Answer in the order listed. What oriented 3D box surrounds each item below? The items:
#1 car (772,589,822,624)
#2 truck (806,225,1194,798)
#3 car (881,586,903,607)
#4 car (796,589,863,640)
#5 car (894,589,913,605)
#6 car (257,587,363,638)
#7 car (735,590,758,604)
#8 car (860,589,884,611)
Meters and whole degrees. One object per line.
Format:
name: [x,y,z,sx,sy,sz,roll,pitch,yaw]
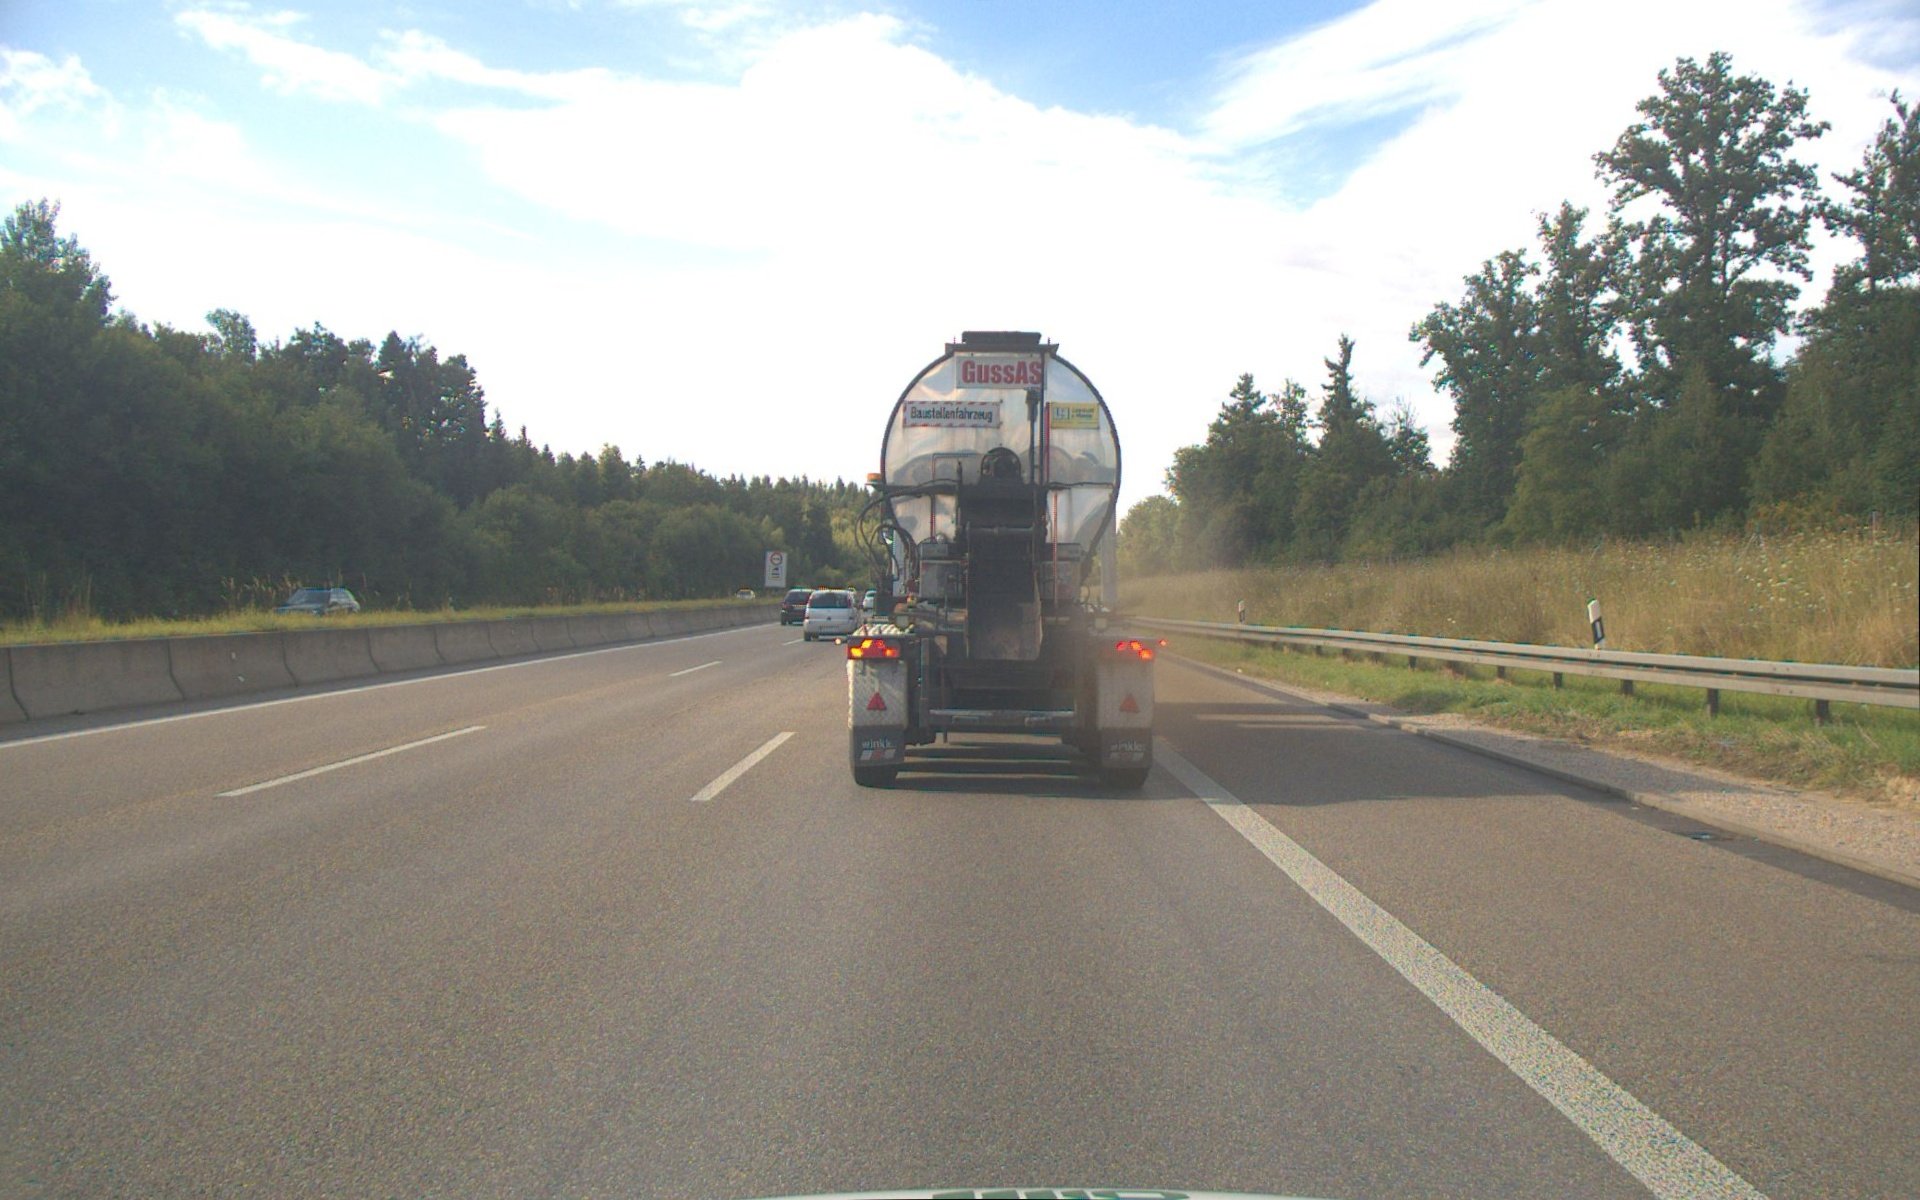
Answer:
car: [-7.358,0.275,74.886,1.798,1.544,4.333,0,0,0]
truck: [0.339,-0.686,17.909,2.853,4.230,11.270,0,0,0]
car: [-5.957,-0.335,144.665,1.808,1.814,3.999,0,0,-1]
car: [-4.148,0.447,53.197,1.798,1.544,4.333,0,0,0]
car: [-5.950,-0.301,174.388,1.770,1.613,4.207,1,1,0]
car: [-22.146,0.411,56.531,1.841,1.656,4.569,0,0,-1]
car: [-20.768,-0.277,160.968,1.779,1.313,3.544,0,0,0]
car: [-6.598,0.016,124.189,1.585,1.572,3.519,1,0,0]
